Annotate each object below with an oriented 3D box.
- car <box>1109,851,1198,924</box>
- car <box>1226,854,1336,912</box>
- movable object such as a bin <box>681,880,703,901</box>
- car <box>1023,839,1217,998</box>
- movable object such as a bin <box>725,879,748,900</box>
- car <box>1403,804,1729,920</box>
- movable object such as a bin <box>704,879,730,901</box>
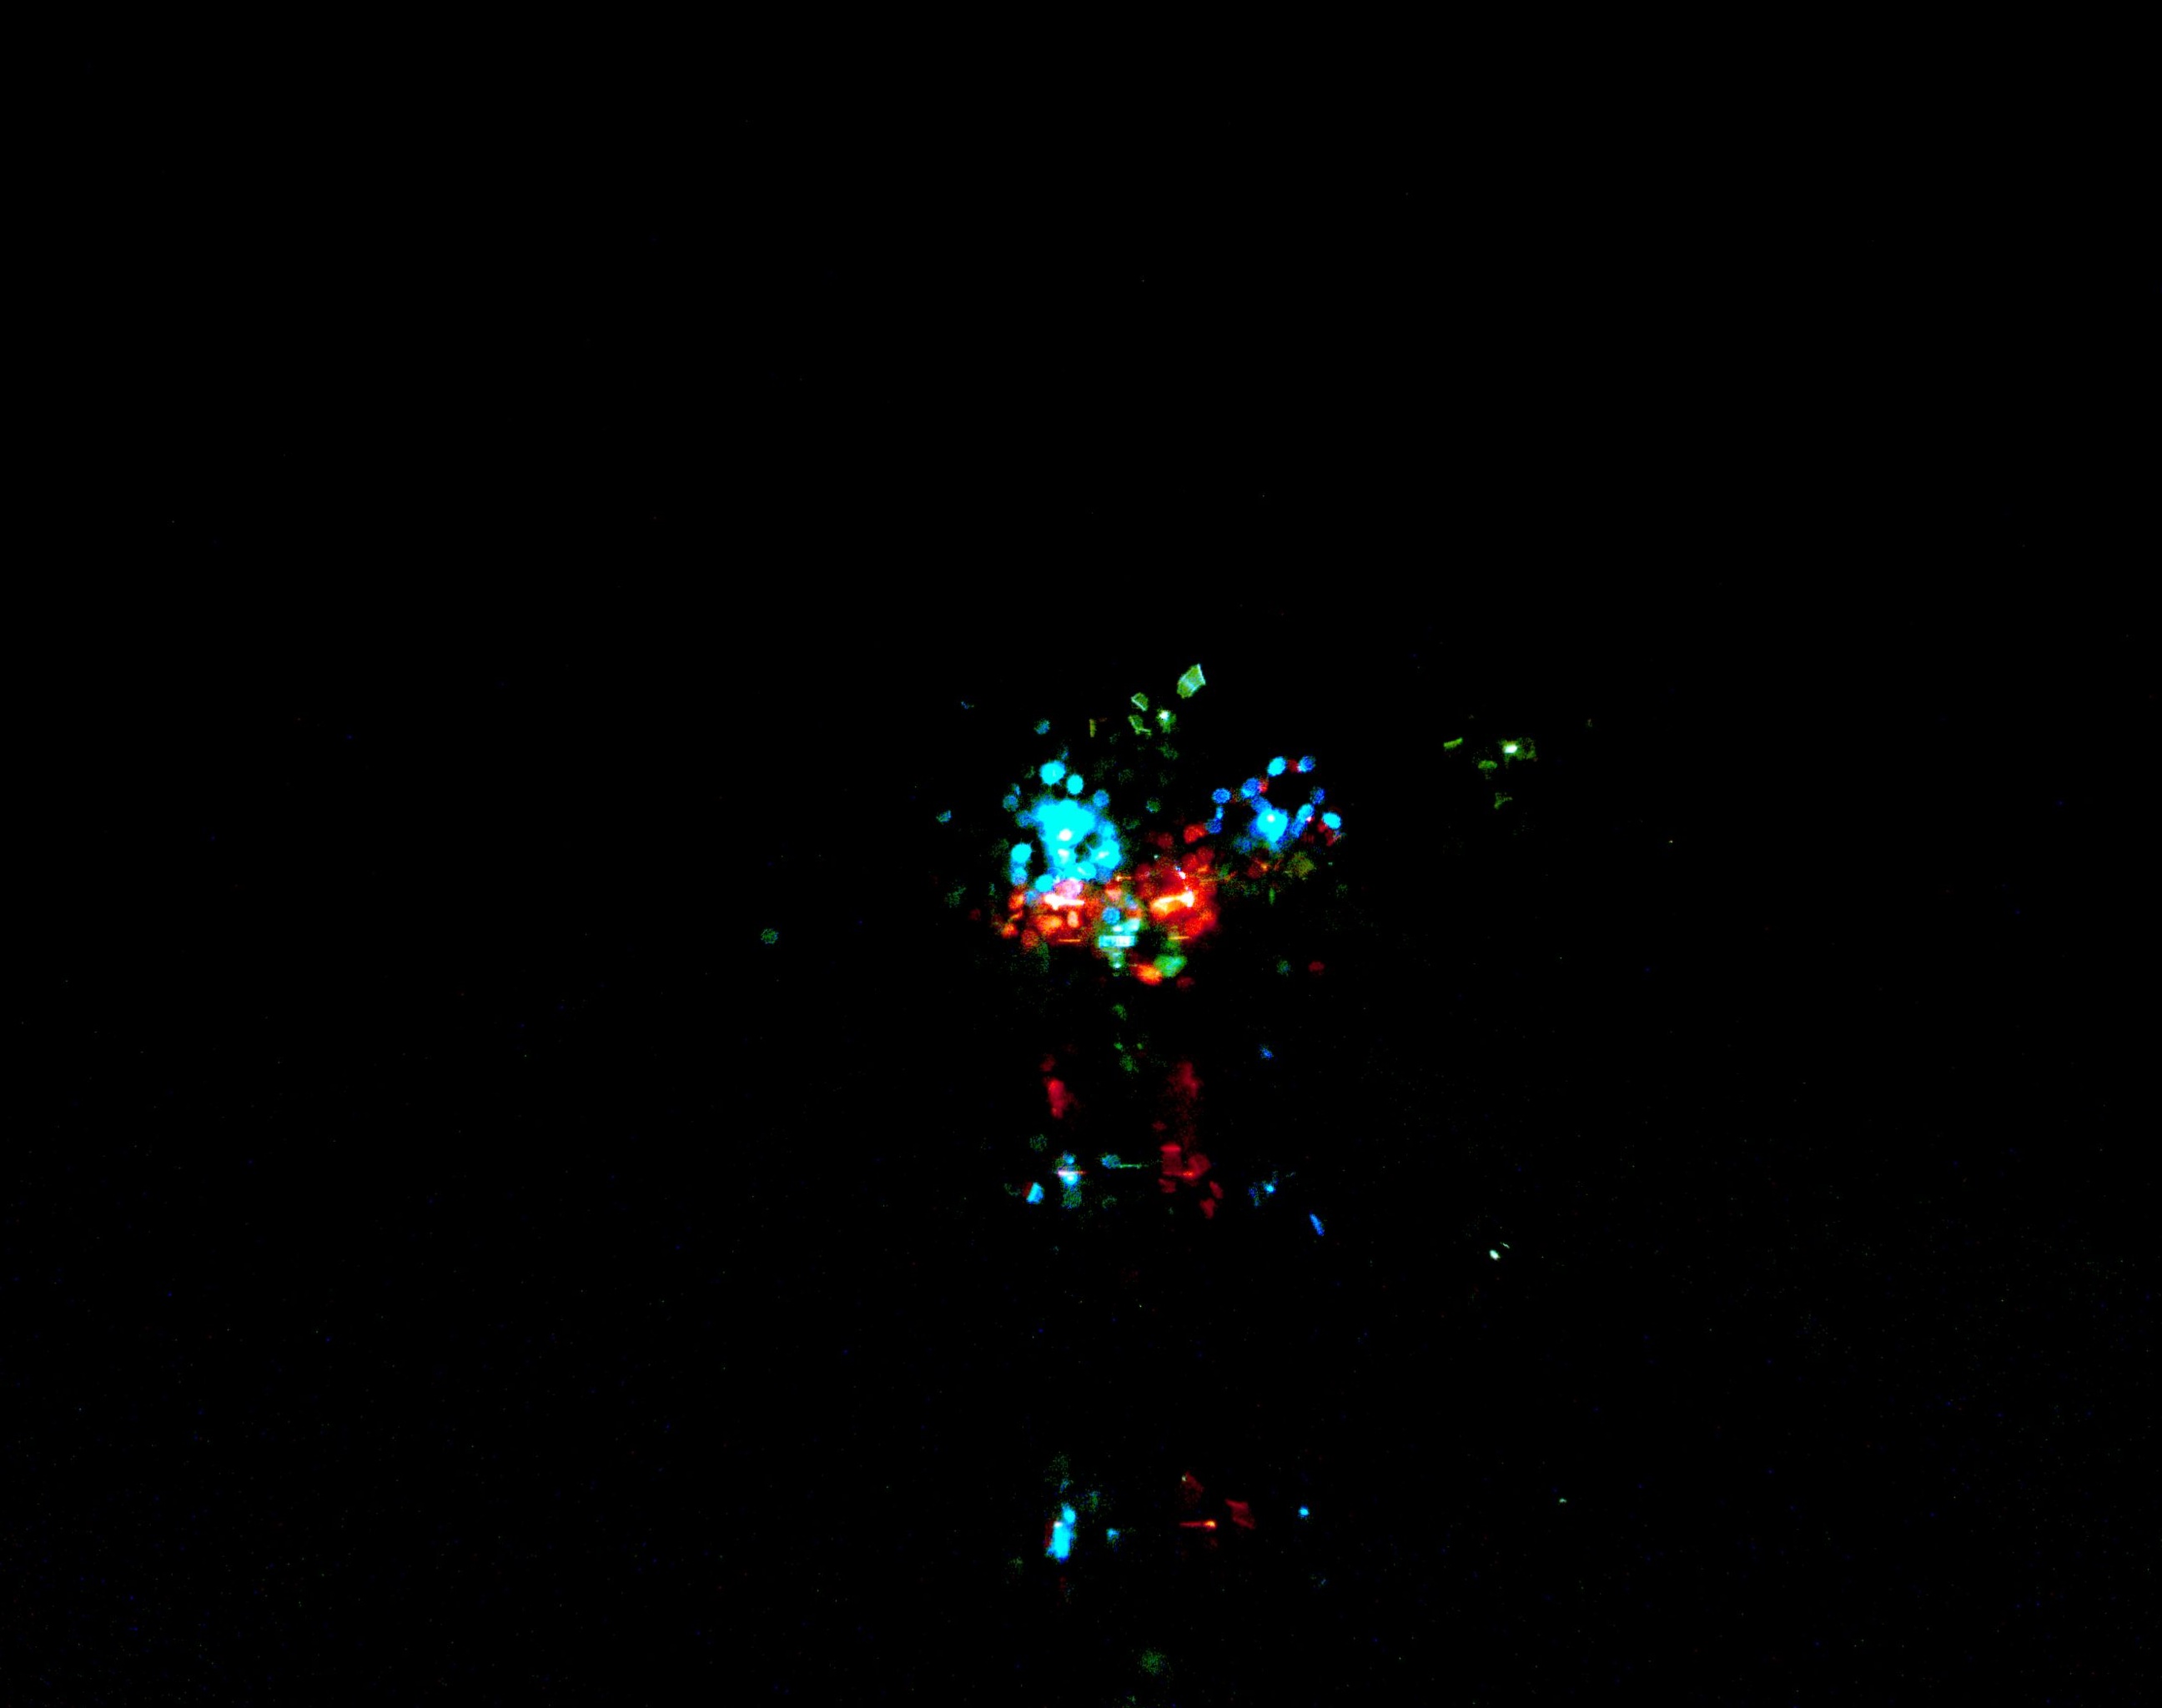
[{"bbox_3d":[1.843,0.758,20.581,1.900,1.510,4.247,-4,0,5],"label":"car"},{"bbox_3d":[7.565,1.039,30.626,4.275,1.947,1.757,1,2,-39],"label":"car"},{"bbox_3d":[-25.737,2.405,53.858,1.234,1.325,1.144,-2,0,-24],"label":"movable object such as a bin"},{"bbox_3d":[0.459,0.693,10.689,2.050,1.678,4.140,0,0,1],"label":"car"},{"bbox_3d":[-23.103,2.384,54.706,1.318,1.299,1.243,0,-1,-18],"label":"movable object such as a bin"},{"bbox_3d":[8.192,0.144,14.224,4.437,1.586,1.946,-4,0,12],"label":"car"},{"bbox_3d":[-24.290,2.388,54.383,1.389,1.413,1.245,0,-1,-14],"label":"movable object such as a bin"}]
